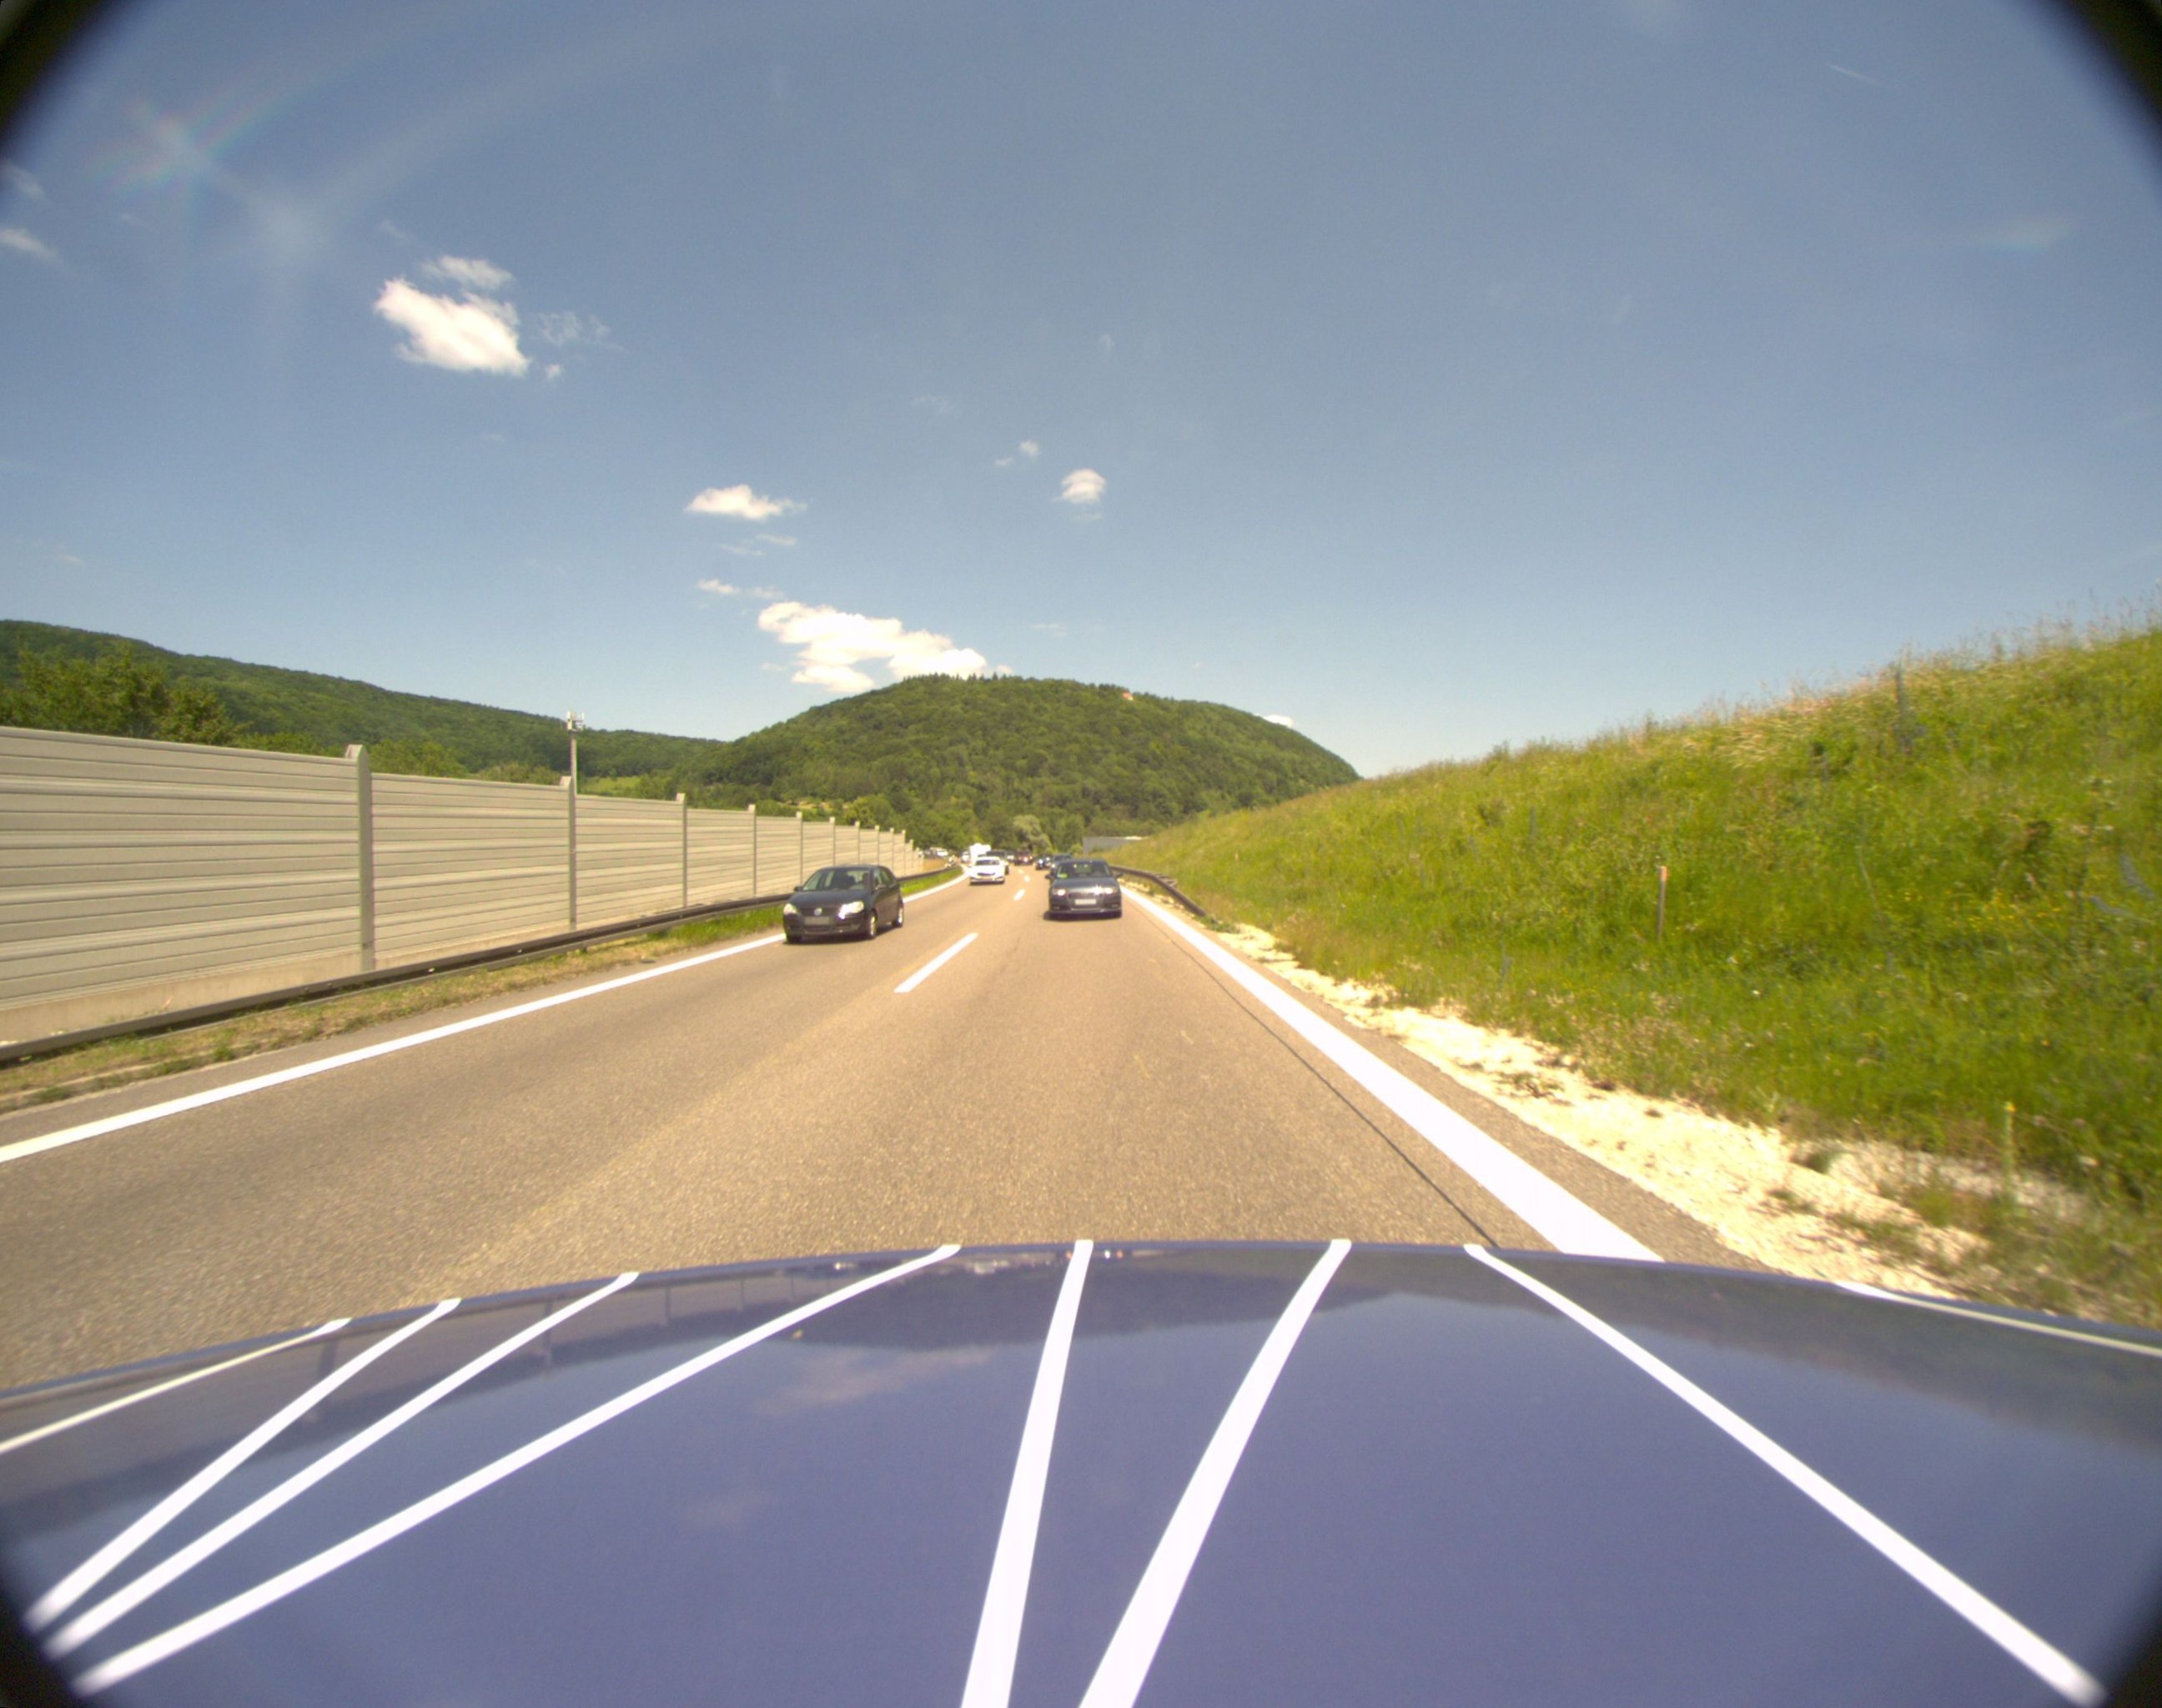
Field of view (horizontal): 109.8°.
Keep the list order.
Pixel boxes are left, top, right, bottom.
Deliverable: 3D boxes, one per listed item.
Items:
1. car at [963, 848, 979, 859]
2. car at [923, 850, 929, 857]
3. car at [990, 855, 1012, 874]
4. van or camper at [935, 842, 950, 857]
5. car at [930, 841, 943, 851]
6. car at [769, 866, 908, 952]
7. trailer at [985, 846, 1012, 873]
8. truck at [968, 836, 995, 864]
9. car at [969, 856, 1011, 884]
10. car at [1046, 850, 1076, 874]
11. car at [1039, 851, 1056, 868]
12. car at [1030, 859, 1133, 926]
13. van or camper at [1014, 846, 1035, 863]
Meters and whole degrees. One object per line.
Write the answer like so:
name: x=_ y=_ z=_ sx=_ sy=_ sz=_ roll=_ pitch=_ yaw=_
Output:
car: x=-16.621 y=-0.027 z=115.013 sx=1.701 sy=1.524 sz=3.674 roll=-5 pitch=1 yaw=-18
car: x=-39.034 y=-0.148 z=191.379 sx=1.247 sy=1.470 sz=2.956 roll=-5 pitch=1 yaw=-18
car: x=-5.911 y=0.743 z=55.781 sx=1.490 sy=1.375 sz=3.735 roll=0 pitch=0 yaw=-7
van or camper: x=-27.685 y=-0.867 z=151.858 sx=1.912 sy=3.010 sz=4.865 roll=-2 pitch=1 yaw=-21
car: x=-30.597 y=-1.700 z=160.579 sx=2.001 sy=2.002 sz=3.993 roll=-3 pitch=1 yaw=-19
car: x=-4.795 y=1.028 z=15.600 sx=1.696 sy=1.414 sz=3.837 roll=-1 pitch=1 yaw=-2
trailer: x=-6.472 y=0.427 z=59.566 sx=2.000 sy=1.958 sz=3.997 roll=-2 pitch=1 yaw=-7
truck: x=-12.399 y=-0.482 z=93.953 sx=2.605 sy=3.090 sz=6.851 roll=-5 pitch=1 yaw=-11
car: x=-4.858 y=0.817 z=41.134 sx=1.907 sy=1.422 sz=3.721 roll=-1 pitch=0 yaw=-2
car: x=-1.371 y=0.507 z=50.669 sx=1.697 sy=1.422 sz=3.460 roll=-3 pitch=1 yaw=-6
car: x=-2.983 y=0.539 z=66.741 sx=1.287 sy=1.305 sz=3.453 roll=-4 pitch=-1 yaw=-4
car: x=-0.111 y=0.858 z=18.978 sx=1.757 sy=1.382 sz=4.051 roll=-3 pitch=1 yaw=-11
van or camper: x=-6.630 y=0.008 z=88.896 sx=1.819 sy=1.856 sz=3.608 roll=-3 pitch=1 yaw=-13
